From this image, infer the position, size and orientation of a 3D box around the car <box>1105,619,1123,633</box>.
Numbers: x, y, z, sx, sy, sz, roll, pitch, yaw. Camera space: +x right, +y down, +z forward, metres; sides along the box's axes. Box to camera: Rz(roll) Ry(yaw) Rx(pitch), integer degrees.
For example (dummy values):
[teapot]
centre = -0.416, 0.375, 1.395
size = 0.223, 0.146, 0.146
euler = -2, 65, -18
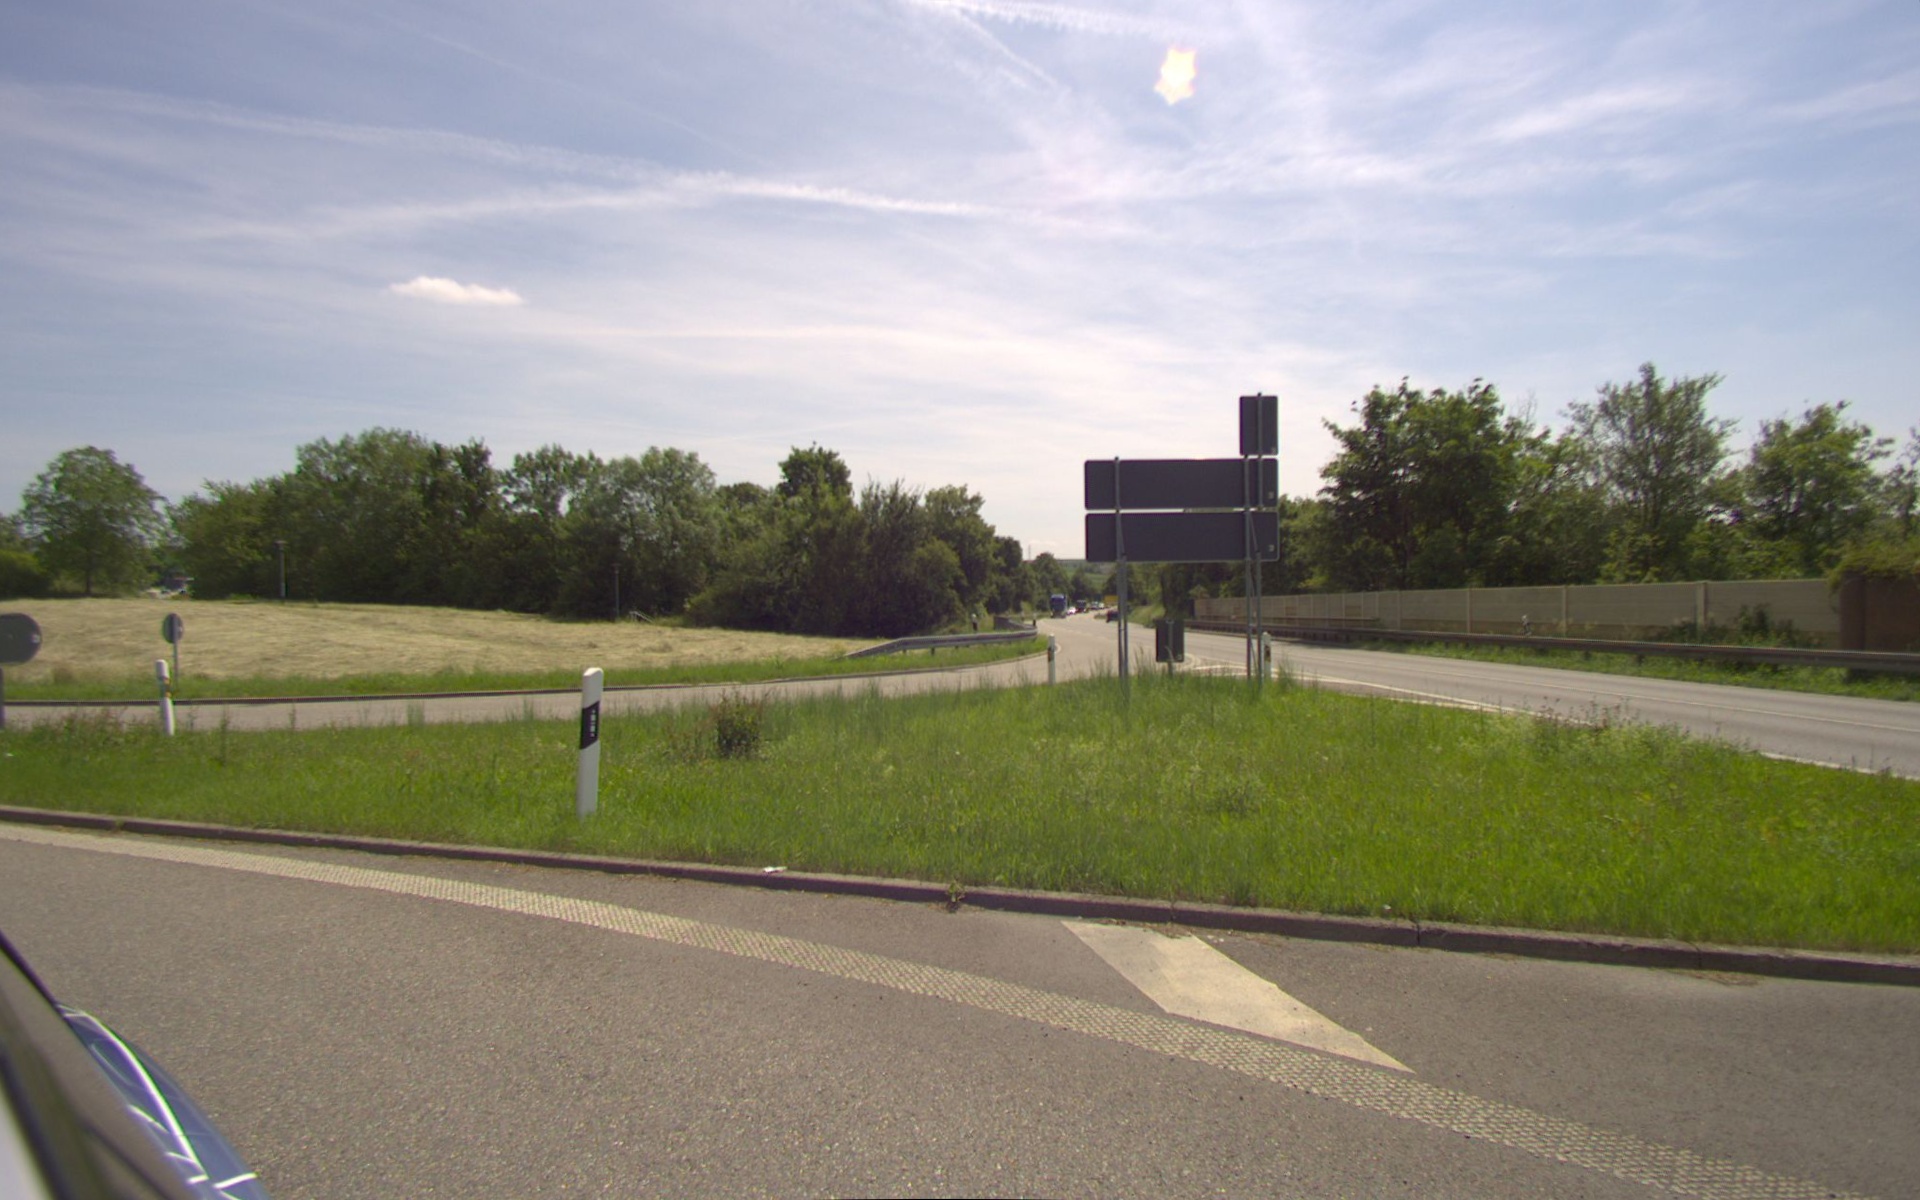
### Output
[car]
centre = 18.630, 3.110, 122.468
size = 1.733, 1.550, 4.101
euler = -2, 0, 4

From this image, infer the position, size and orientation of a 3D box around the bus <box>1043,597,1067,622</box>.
[bus]
centre = 16.561, 1.652, 175.609
size = 3.317, 4.100, 10.478
euler = 0, -1, 10
